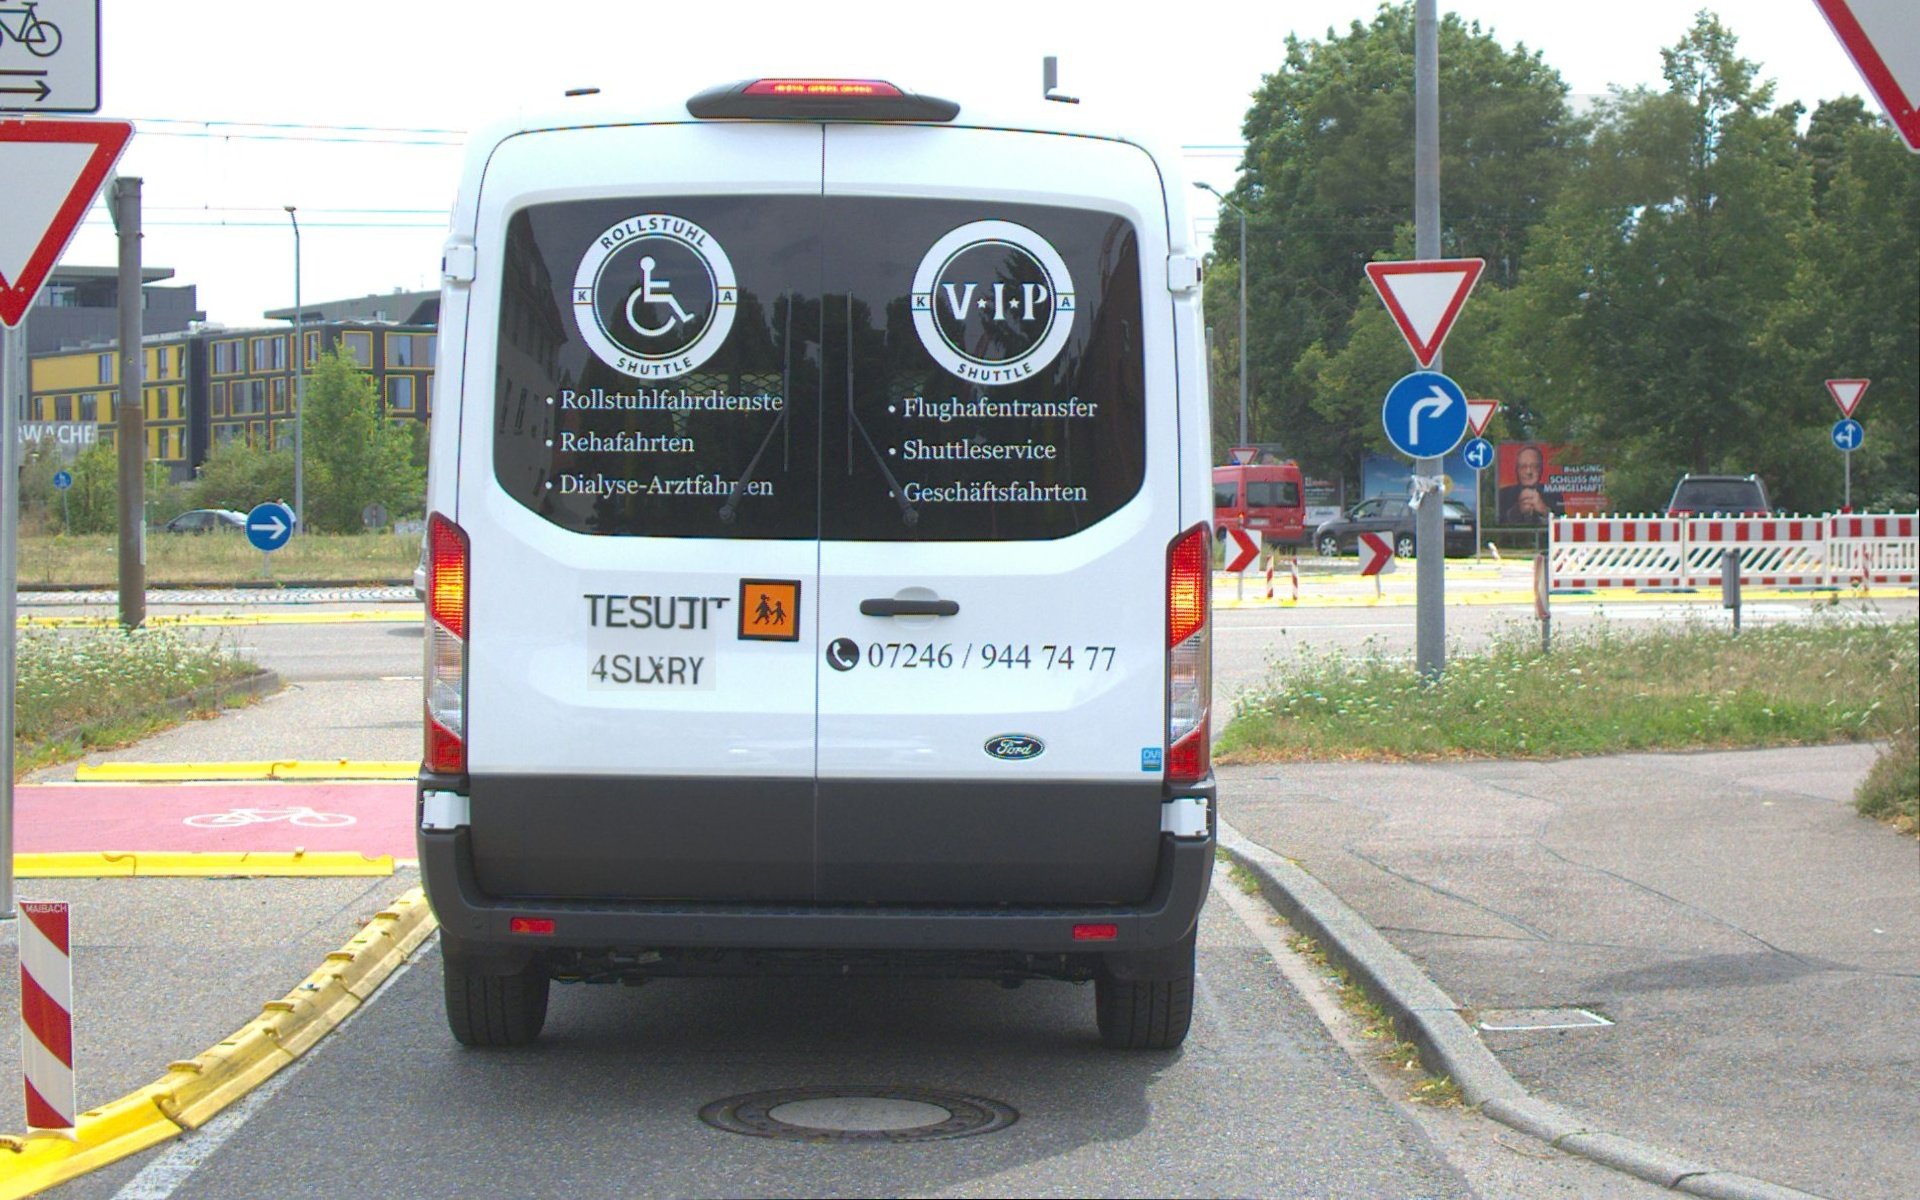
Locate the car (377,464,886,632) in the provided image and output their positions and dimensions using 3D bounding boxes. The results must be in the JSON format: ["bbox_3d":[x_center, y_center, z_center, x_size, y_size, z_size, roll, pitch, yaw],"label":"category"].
[{"bbox_3d":[-3.321,-0.549,34.717,4.735,1.612,2.001,-1,2,-22],"label":"car"}]

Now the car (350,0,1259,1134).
[{"bbox_3d":[-0.393,-0.168,10.894,2.126,2.688,5.632,0,2,-1],"label":"car"}]

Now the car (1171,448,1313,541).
[{"bbox_3d":[7.144,-2.663,87.588,2.024,2.271,4.160,1,1,-20],"label":"car"}]

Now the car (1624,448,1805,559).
[{"bbox_3d":[12.337,-1.551,56.450,1.993,1.744,4.000,0,0,-1],"label":"car"}]
